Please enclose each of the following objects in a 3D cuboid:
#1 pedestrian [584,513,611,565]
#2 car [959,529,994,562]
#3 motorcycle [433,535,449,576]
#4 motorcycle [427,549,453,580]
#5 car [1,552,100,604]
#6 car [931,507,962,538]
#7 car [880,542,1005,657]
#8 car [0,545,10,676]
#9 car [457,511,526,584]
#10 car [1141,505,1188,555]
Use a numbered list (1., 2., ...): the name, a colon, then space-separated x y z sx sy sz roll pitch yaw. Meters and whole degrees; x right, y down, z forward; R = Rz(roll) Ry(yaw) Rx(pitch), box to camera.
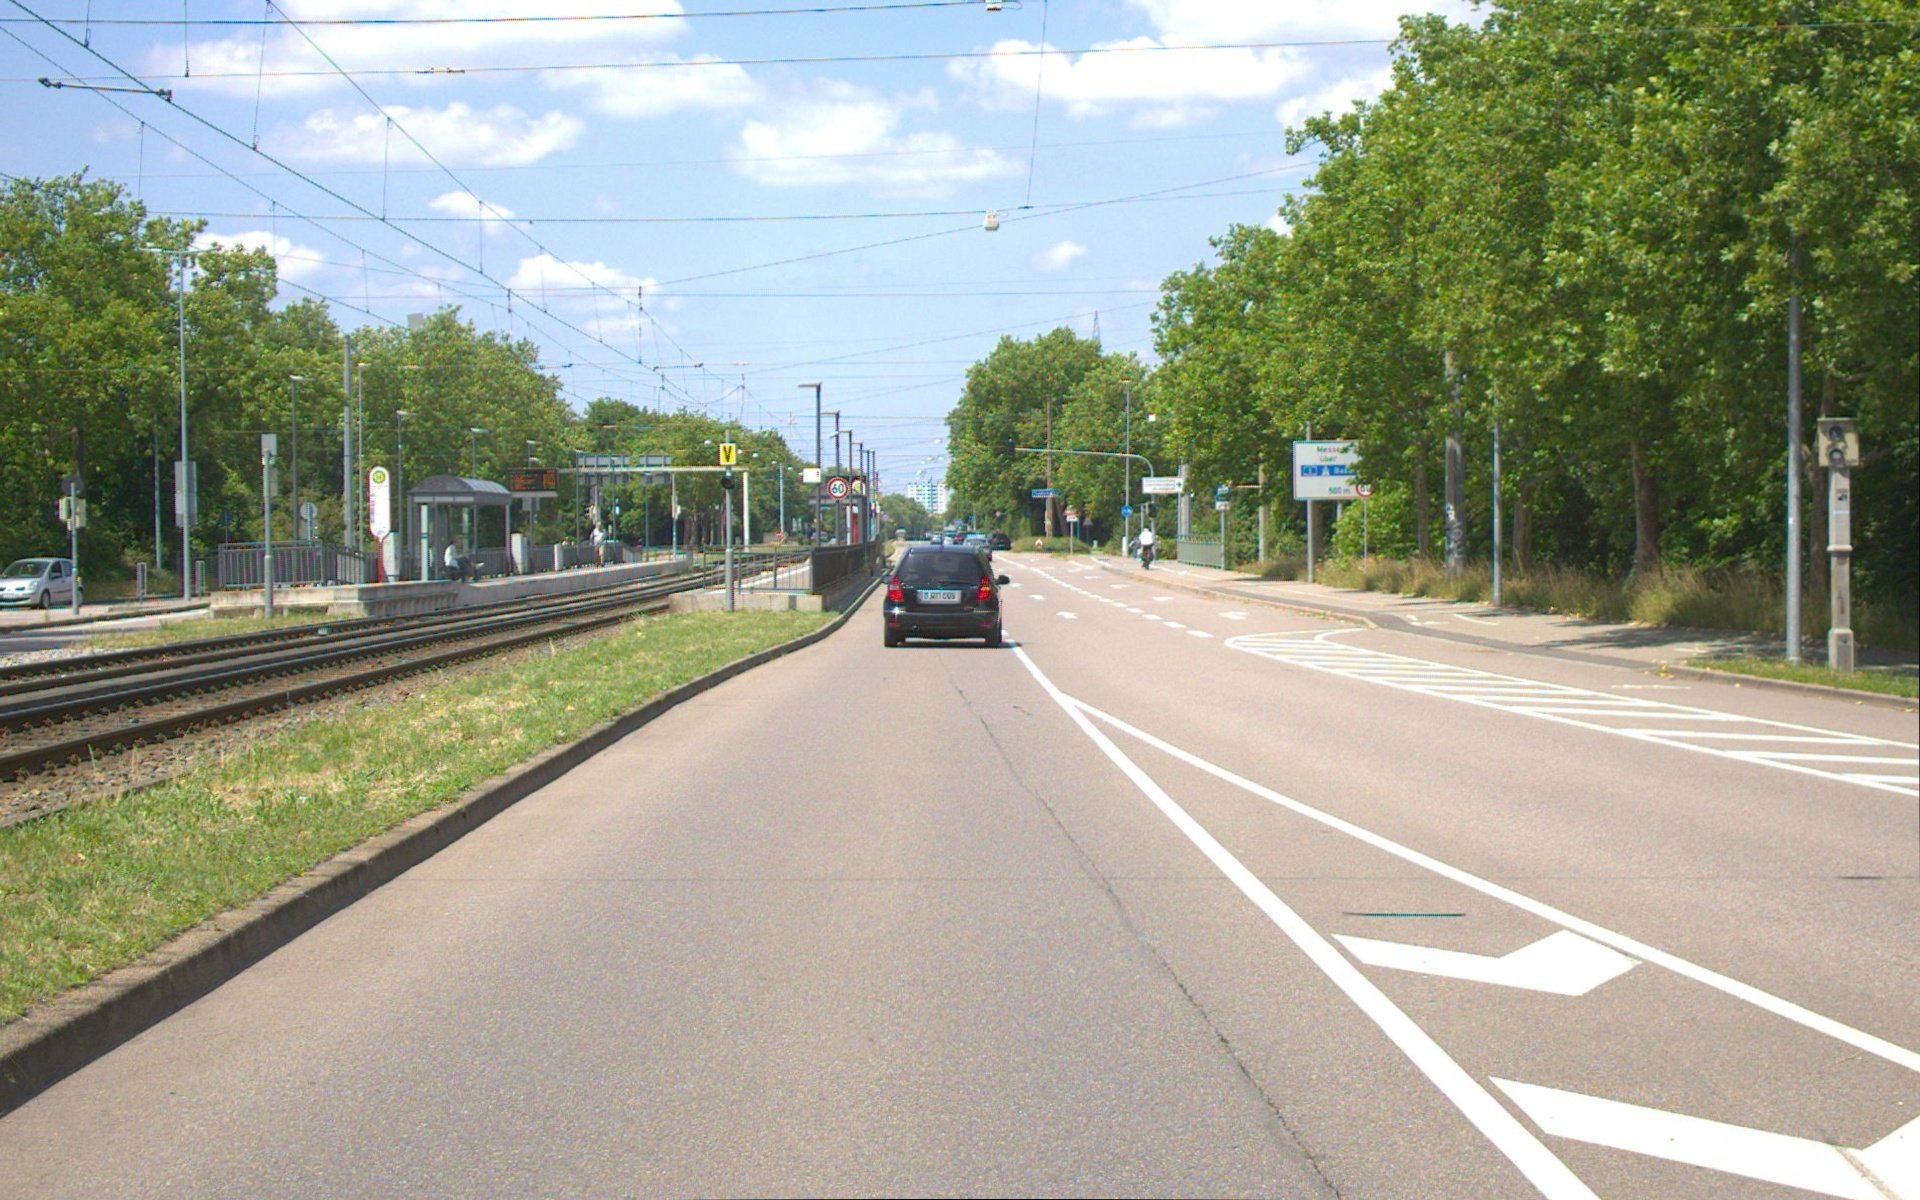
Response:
1. pedestrian: -14.438 -2.436 136.944 0.952 2.006 0.892 1 2 -1
2. car: 0.927 -3.079 193.842 1.885 1.634 4.000 3 2 0
3. motorcycle: -14.929 -1.272 98.870 0.283 1.169 0.391 1 1 31
4. motorcycle: -14.938 -1.016 98.856 0.231 0.895 0.882 1 1 31
5. car: -27.963 -0.694 105.818 1.993 1.568 4.000 0 1 0
6. car: -0.944 -5.268 234.131 1.993 2.006 4.001 1 2 -1
7. car: -0.251 -0.049 53.815 1.853 1.564 4.389 1 3 0
8. car: -15.685 0.187 51.225 1.993 2.007 4.000 0 1 -1
9. car: -13.630 -1.554 100.171 1.585 2.006 4.111 1 2 -2
10. car: 8.437 -2.907 142.024 1.612 2.006 3.440 1 2 -1
